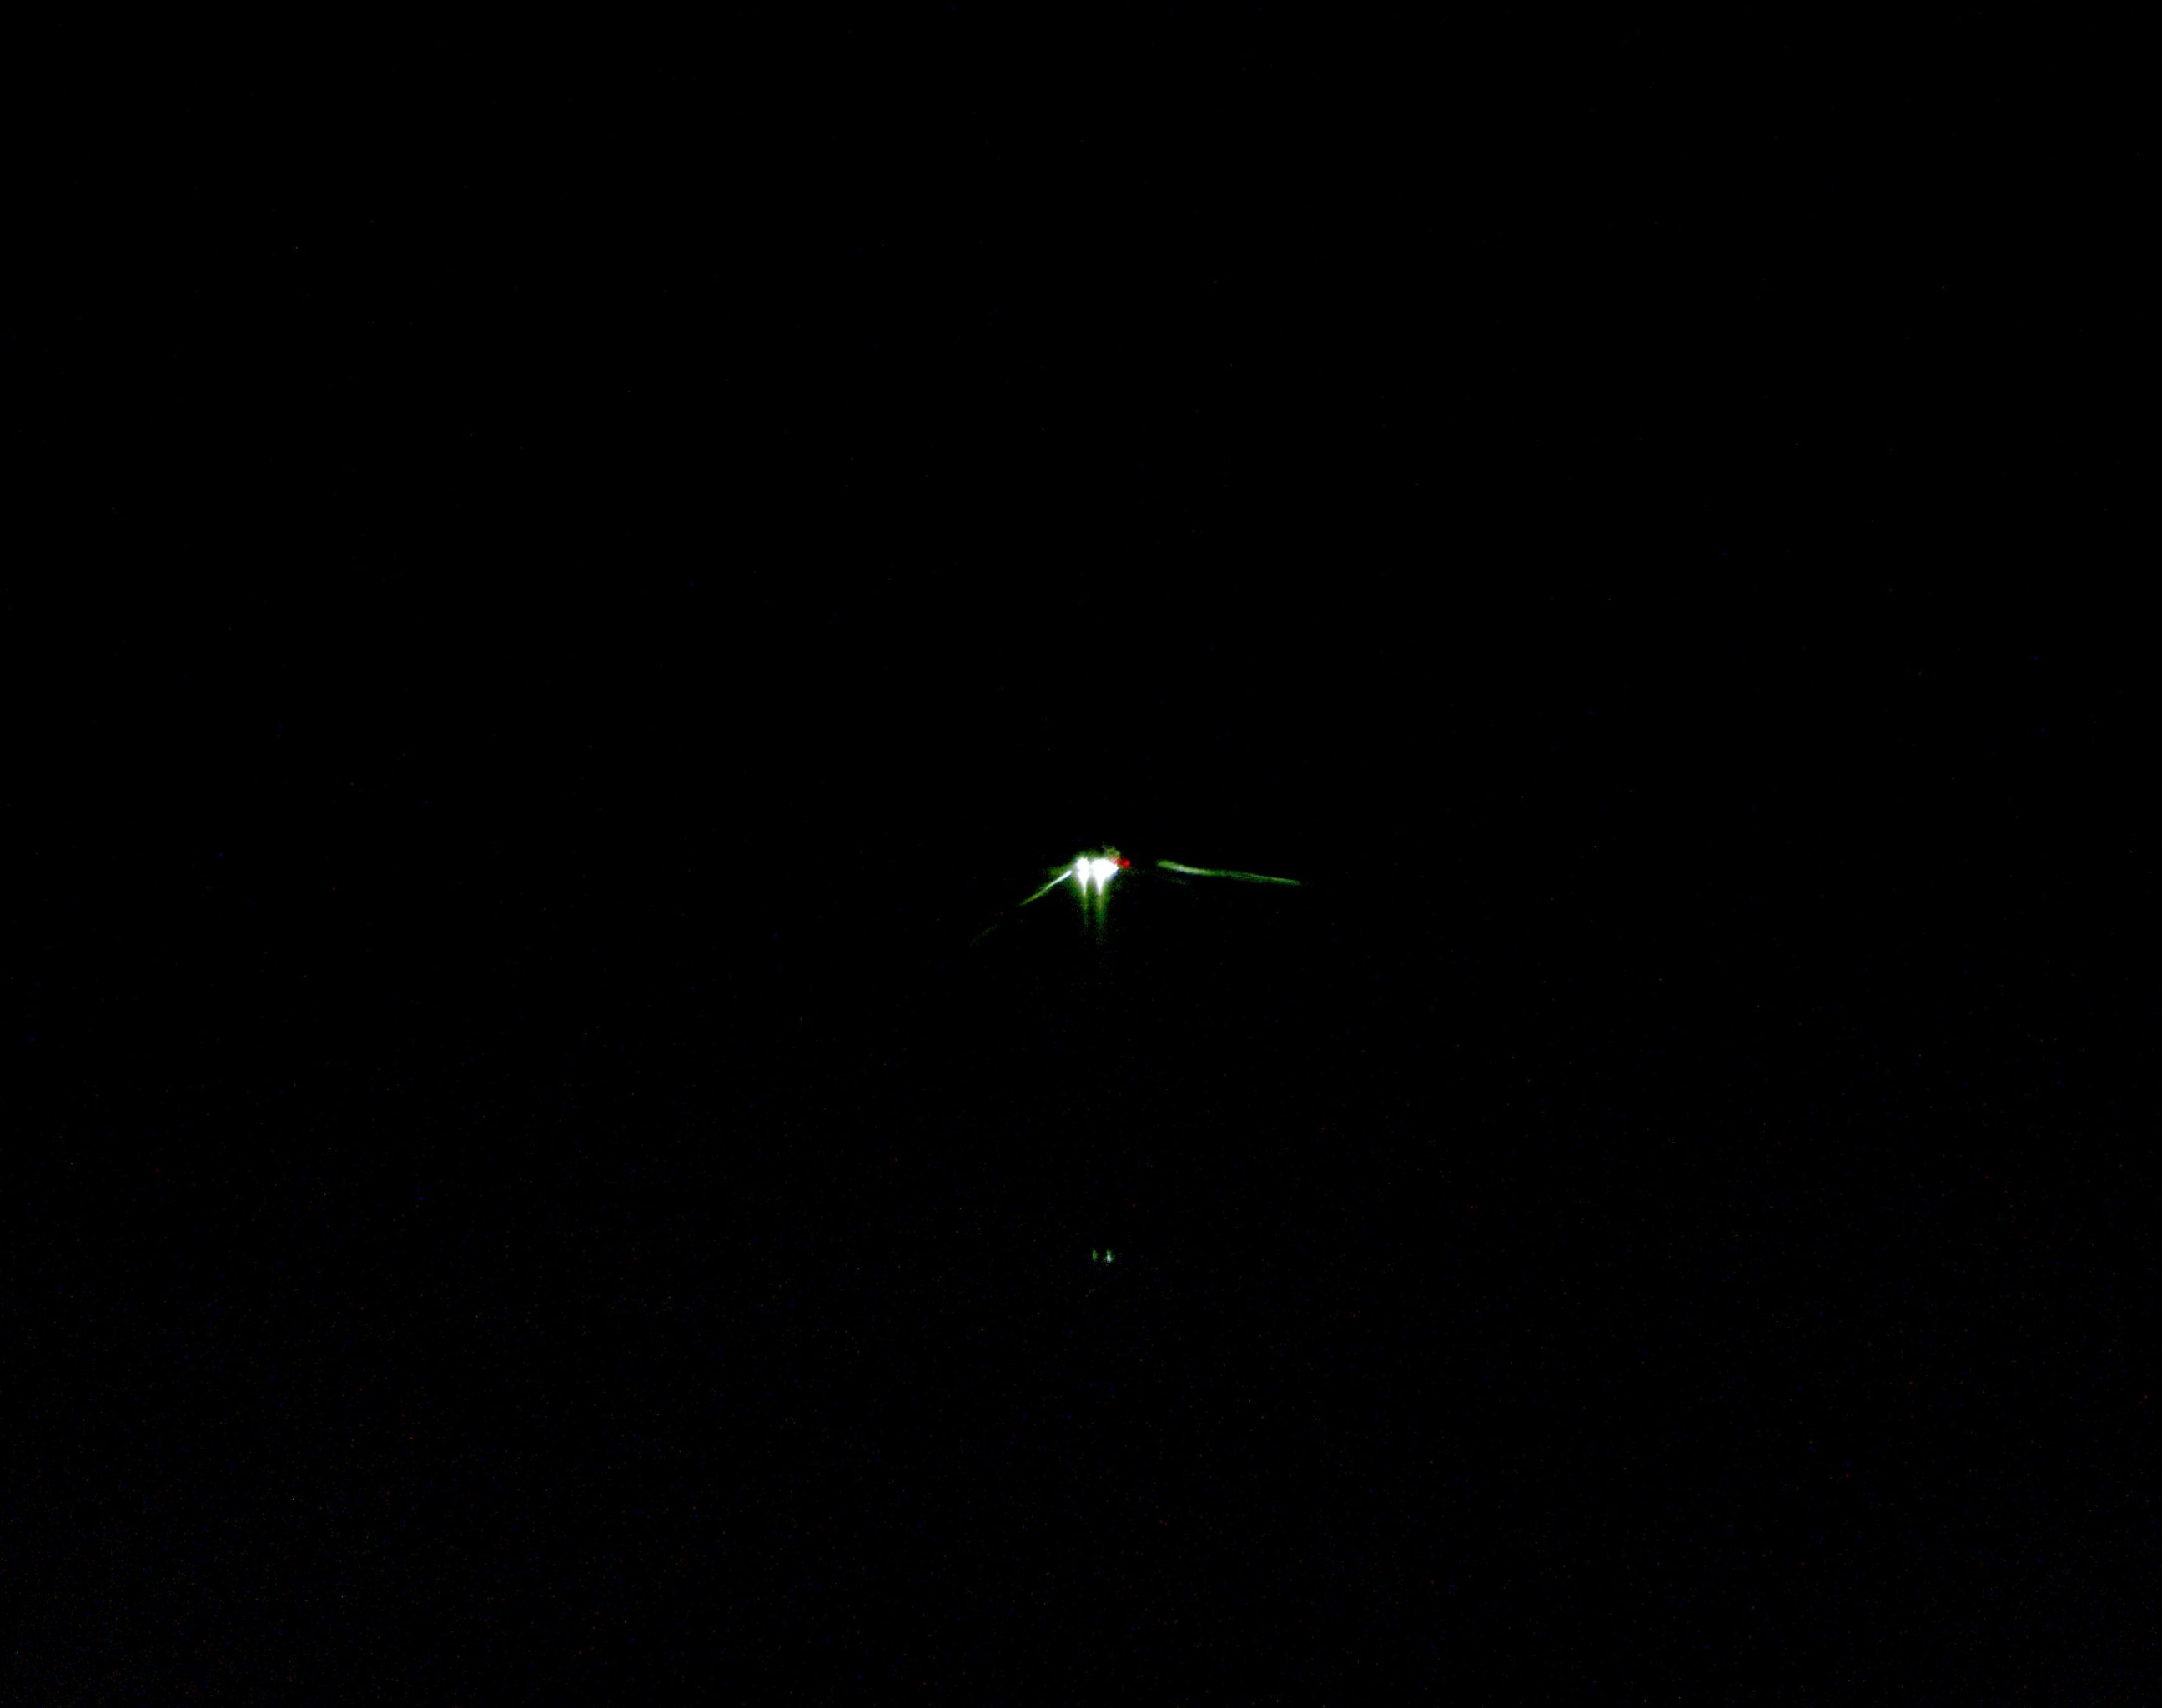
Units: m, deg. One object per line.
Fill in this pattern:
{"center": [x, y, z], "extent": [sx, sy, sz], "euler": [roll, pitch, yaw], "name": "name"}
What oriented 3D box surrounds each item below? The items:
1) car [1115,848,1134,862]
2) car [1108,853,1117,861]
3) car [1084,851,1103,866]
{"center": [5.082, 0.090, 88.413], "extent": [1.998, 1.440, 4.429], "euler": [-2, 0, 1], "name": "car"}
{"center": [8.084, 0.779, 194.597], "extent": [1.998, 1.782, 4.246], "euler": [-2, 0, 2], "name": "car"}
{"center": [1.399, 0.472, 82.196], "extent": [1.807, 1.452, 4.277], "euler": [-3, 0, 3], "name": "car"}
